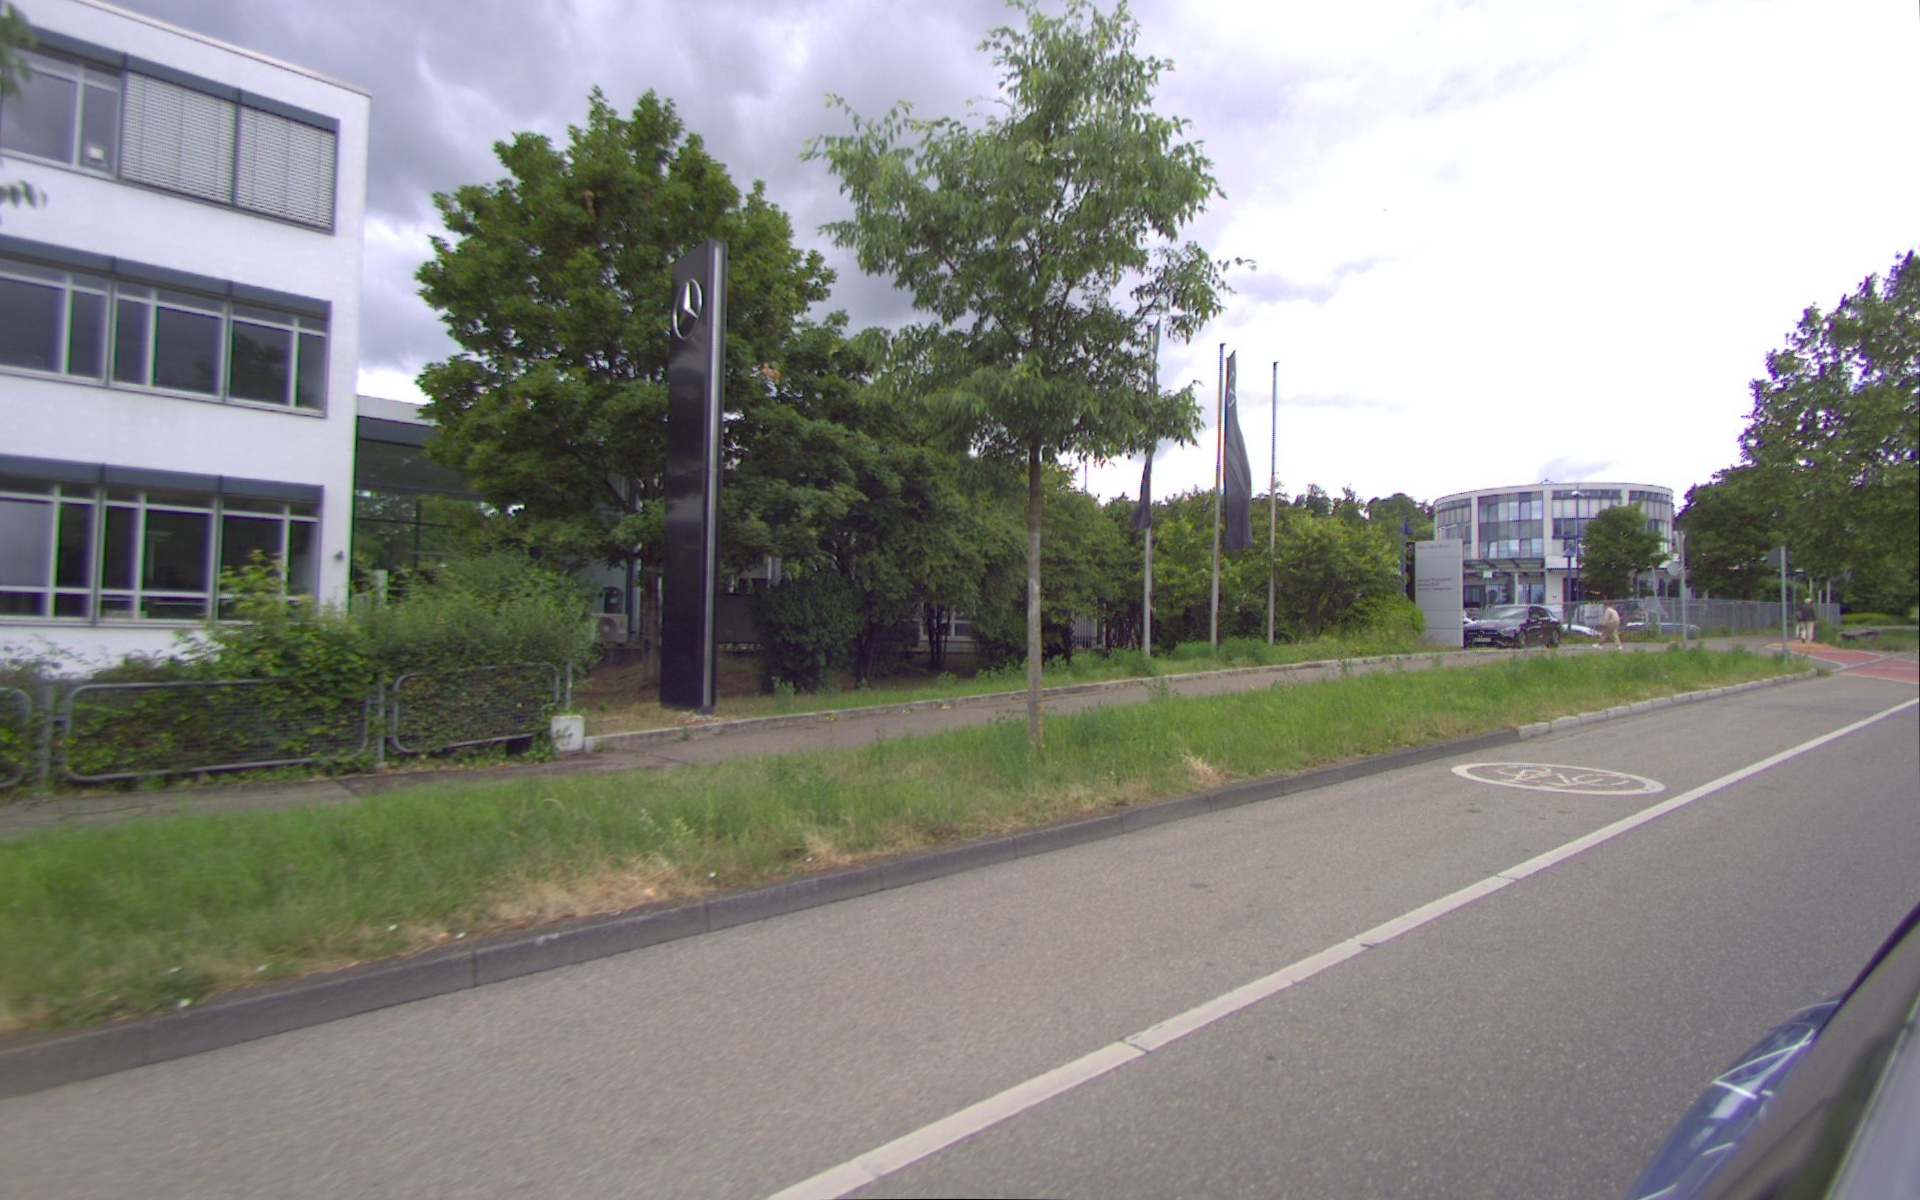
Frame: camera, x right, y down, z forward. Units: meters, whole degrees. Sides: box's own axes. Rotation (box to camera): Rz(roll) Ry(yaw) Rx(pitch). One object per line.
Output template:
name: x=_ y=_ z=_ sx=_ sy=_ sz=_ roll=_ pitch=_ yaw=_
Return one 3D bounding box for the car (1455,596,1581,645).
car: x=17.691 y=0.626 z=32.001 sx=4.893 sy=1.435 sz=1.849 roll=0 pitch=-2 yaw=-40

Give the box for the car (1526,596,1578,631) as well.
car: x=40.658 y=0.914 z=69.627 sx=2.087 sy=2.304 sz=4.459 roll=1 pitch=-1 yaw=17

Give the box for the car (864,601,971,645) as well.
car: x=-1.298 y=0.719 z=31.456 sx=3.025 sy=1.313 sz=1.596 roll=2 pitch=-2 yaw=-43

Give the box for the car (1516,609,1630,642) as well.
car: x=28.070 y=1.221 z=46.445 sx=1.963 sy=1.335 sz=3.995 roll=1 pitch=-4 yaw=-37

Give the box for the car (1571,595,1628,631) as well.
car: x=42.758 y=0.865 z=67.759 sx=2.087 sy=2.304 sz=4.459 roll=1 pitch=-1 yaw=17

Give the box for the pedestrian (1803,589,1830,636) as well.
pedestrian: x=32.489 y=0.453 z=38.393 sx=0.493 sy=1.748 sz=0.732 roll=-1 pitch=2 yaw=-44

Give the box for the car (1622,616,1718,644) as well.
car: x=40.596 y=1.724 z=57.952 sx=1.787 sy=1.467 sz=4.181 roll=2 pitch=-4 yaw=-42

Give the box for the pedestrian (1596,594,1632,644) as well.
pedestrian: x=21.297 y=0.612 z=32.991 sx=0.803 sy=1.586 sz=0.937 roll=1 pitch=2 yaw=23
